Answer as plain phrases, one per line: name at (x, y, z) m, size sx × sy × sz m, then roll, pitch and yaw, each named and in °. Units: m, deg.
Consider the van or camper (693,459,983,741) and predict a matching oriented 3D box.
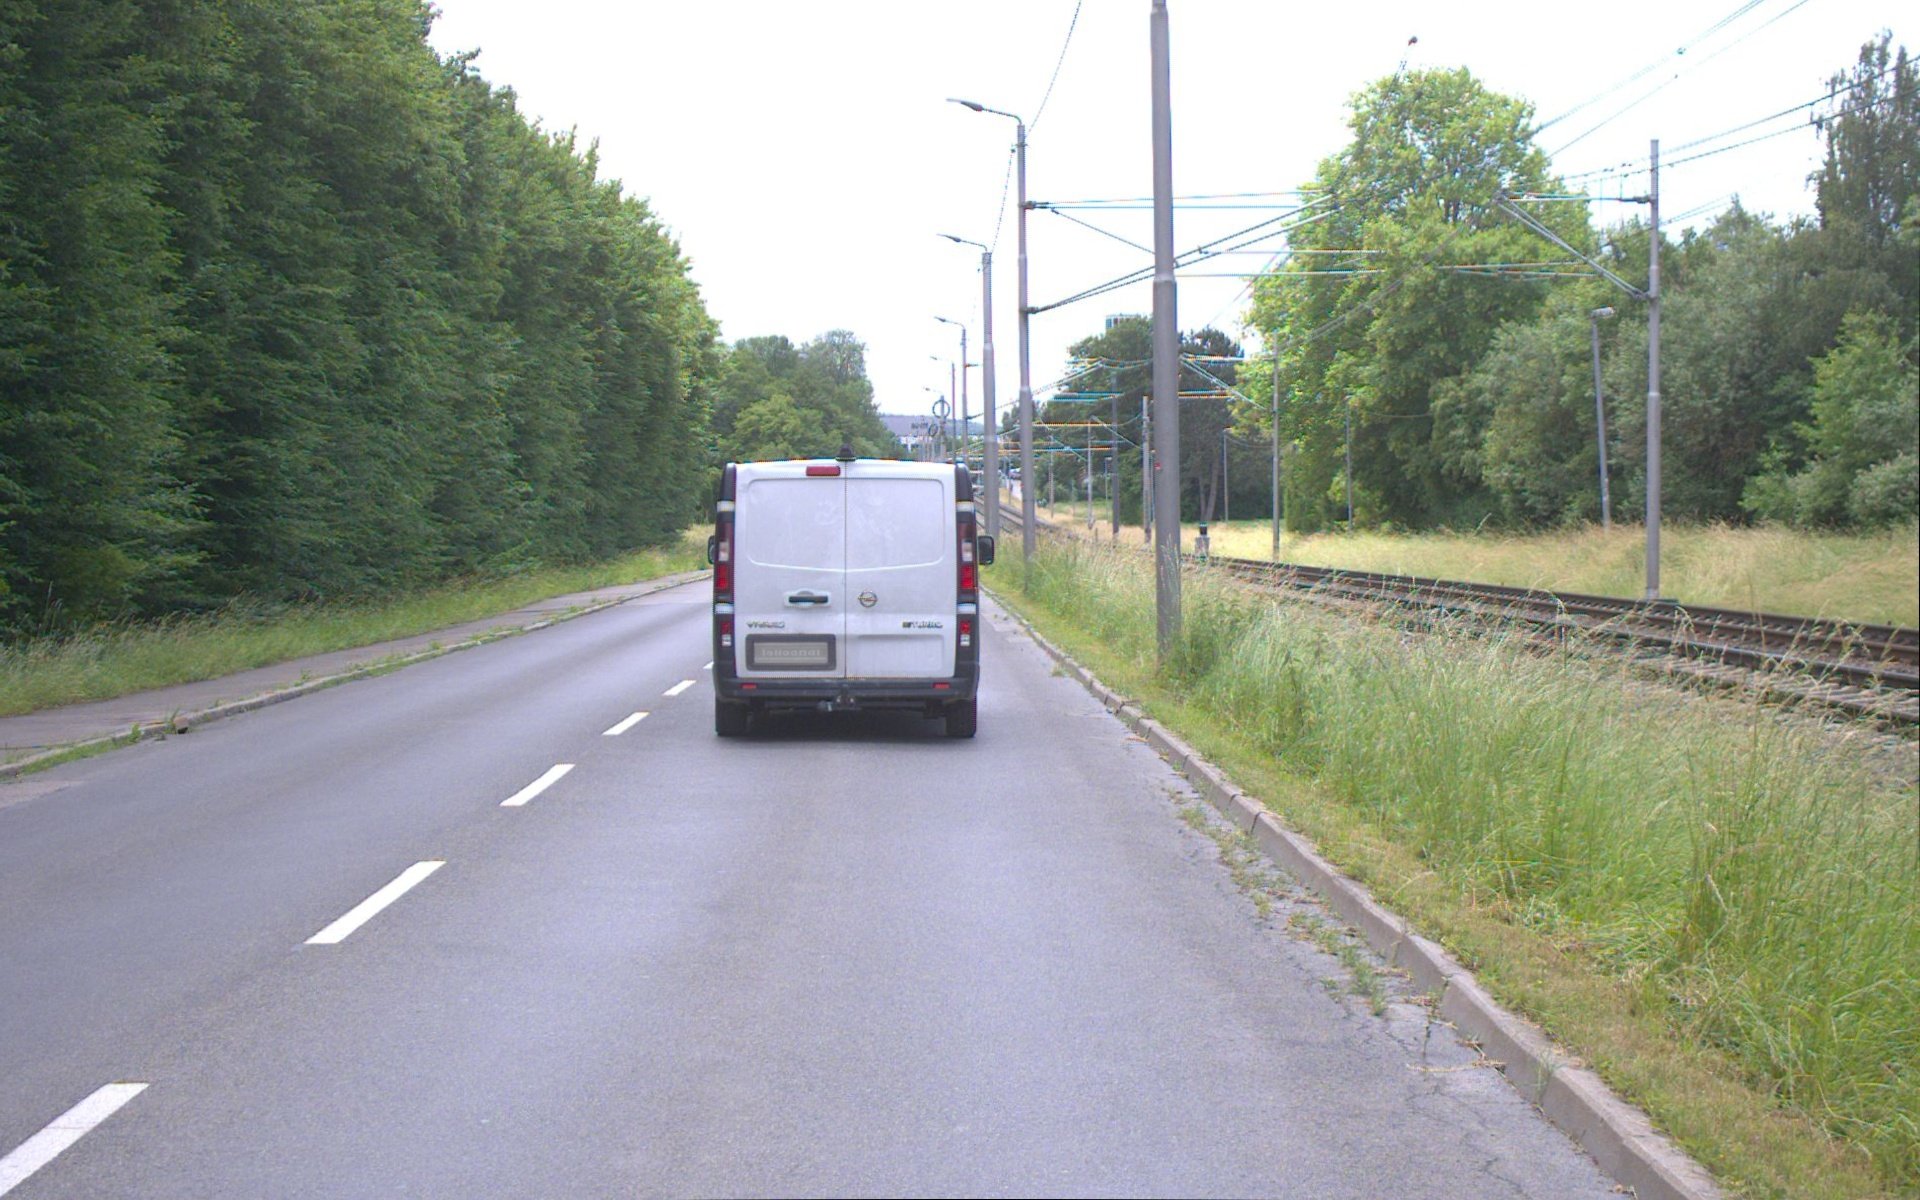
van or camper at (-0.911, -0.053, 25.339) m, size 1.942 × 1.890 × 4.285 m, roll 0°, pitch 1°, yaw -2°
